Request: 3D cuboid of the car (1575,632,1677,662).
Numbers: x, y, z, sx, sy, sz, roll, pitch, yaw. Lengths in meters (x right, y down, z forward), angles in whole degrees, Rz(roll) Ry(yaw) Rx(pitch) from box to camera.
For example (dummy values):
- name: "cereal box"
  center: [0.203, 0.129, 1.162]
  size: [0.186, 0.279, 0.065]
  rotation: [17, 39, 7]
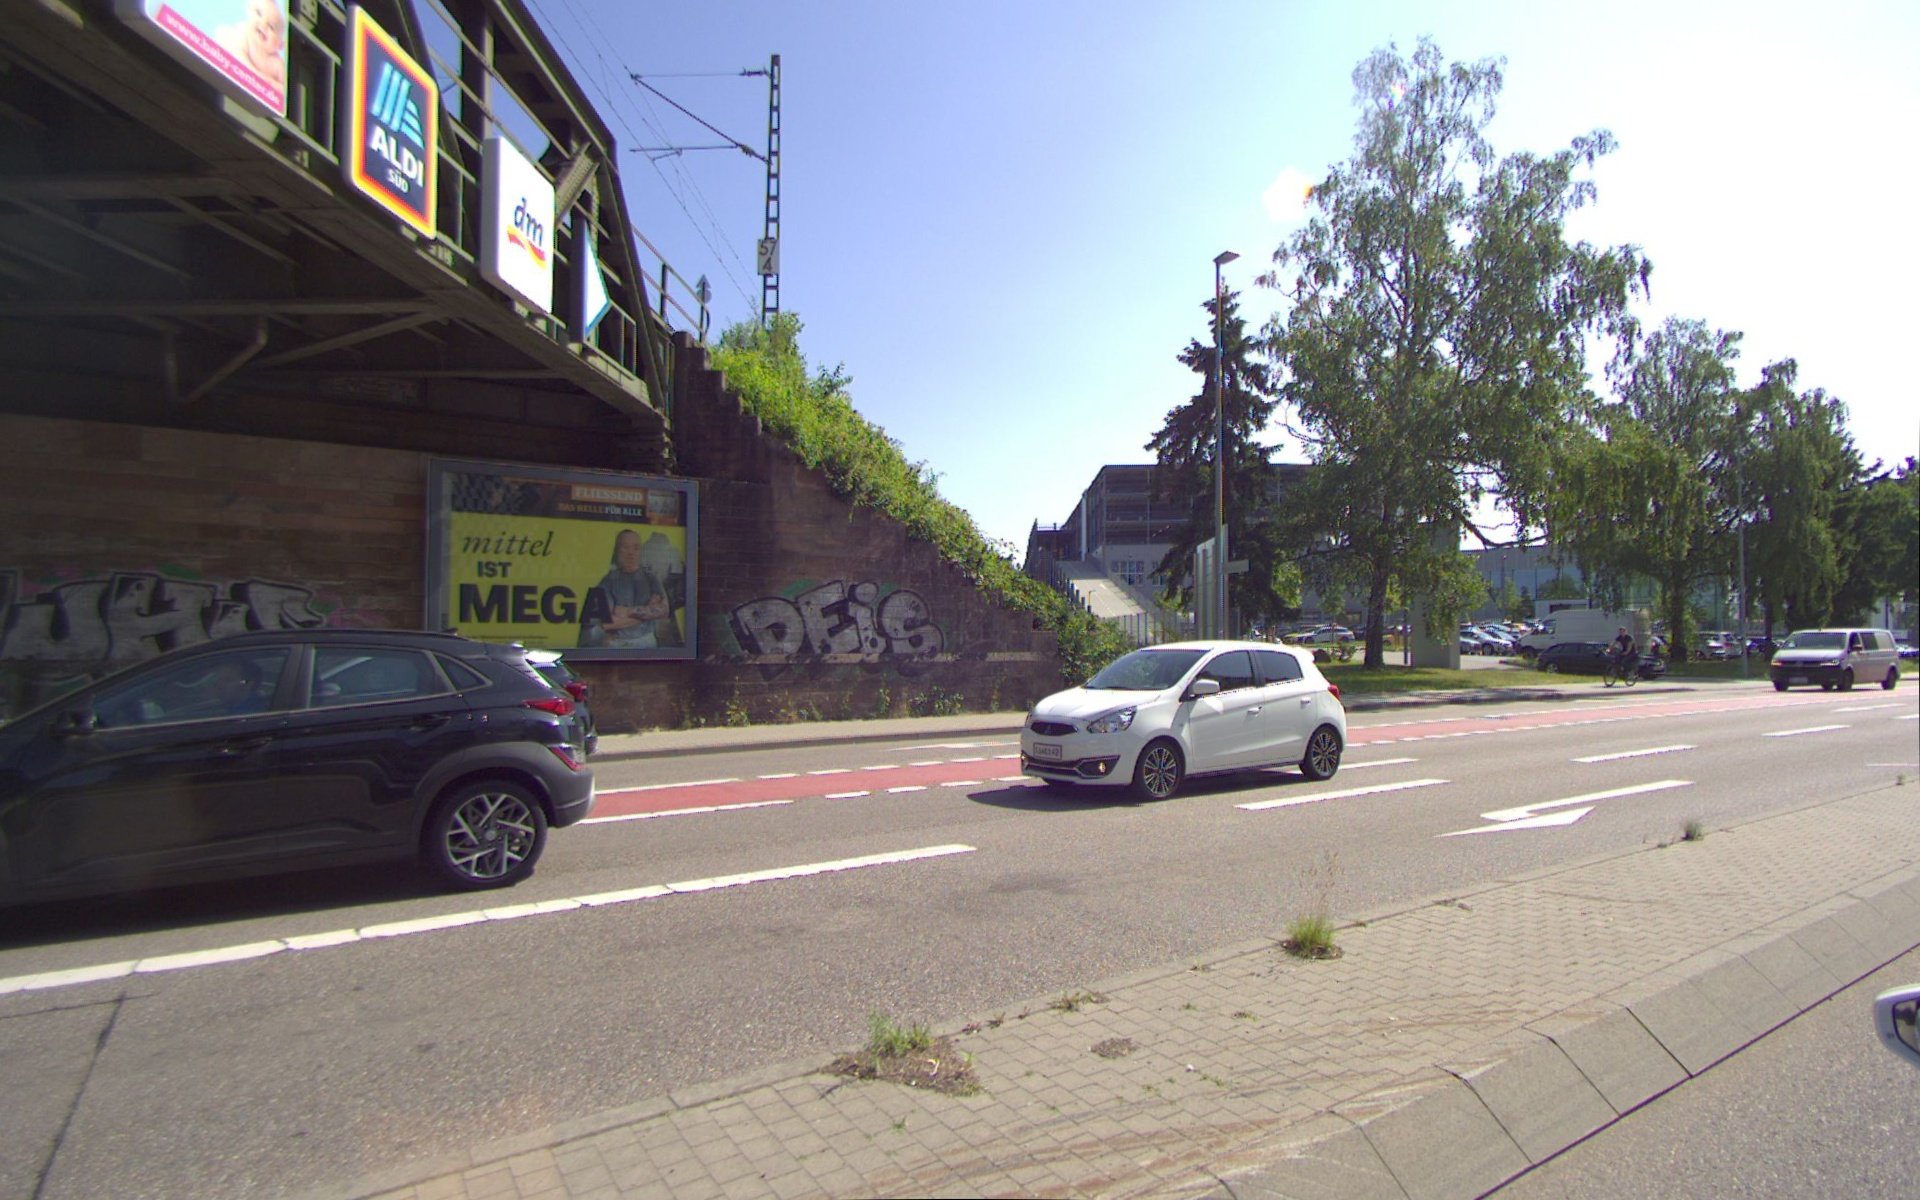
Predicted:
- name: "car"
  center: [34.010, 2.368, 51.399]
  size: [1.721, 1.457, 4.072]
  rotation: [1, -2, -27]

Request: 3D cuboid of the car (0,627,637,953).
- name: "car"
  center: [-4.293, 0.981, 6.093]
  size: [4.132, 1.514, 1.759]
  rotation: [0, -3, -33]

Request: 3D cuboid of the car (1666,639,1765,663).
- name: "car"
  center: [44.408, 2.953, 59.096]
  size: [1.931, 1.345, 4.246]
  rotation: [1, -2, -30]

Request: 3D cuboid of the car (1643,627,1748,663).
- name: "car"
  center: [40.429, 2.469, 55.321]
  size: [1.931, 1.909, 4.246]
  rotation: [1, -2, -30]

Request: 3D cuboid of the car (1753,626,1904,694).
- name: "car"
  center: [28.235, 1.902, 32.630]
  size: [5.281, 2.040, 1.985]
  rotation: [1, -3, -29]

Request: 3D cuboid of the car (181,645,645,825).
- name: "car"
  center: [-5.757, 1.315, 10.930]
  size: [4.132, 1.514, 1.759]
  rotation: [0, -3, -33]

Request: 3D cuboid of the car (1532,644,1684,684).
- name: "car"
  center: [25.227, 2.461, 39.304]
  size: [1.974, 1.432, 4.650]
  rotation: [1, -3, -27]

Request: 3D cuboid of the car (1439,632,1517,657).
- name: "car"
  center: [32.463, 2.775, 63.029]
  size: [1.724, 1.457, 4.065]
  rotation: [1, -2, -32]

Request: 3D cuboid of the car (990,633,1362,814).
- name: "car"
  center: [2.331, 1.157, 10.522]
  size: [3.789, 1.514, 1.633]
  rotation: [0, -3, -34]

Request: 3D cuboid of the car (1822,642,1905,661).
- name: "car"
  center: [67.033, 3.819, 74.595]
  size: [1.931, 1.368, 4.246]
  rotation: [1, -2, -30]

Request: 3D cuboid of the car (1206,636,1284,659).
- name: "car"
  center: [18.182, 3.020, 64.198]
  size: [4.460, 1.461, 2.001]
  rotation: [0, -2, 0]

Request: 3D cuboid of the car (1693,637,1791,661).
- name: "car"
  center: [46.961, 2.925, 60.408]
  size: [1.931, 1.399, 4.246]
  rotation: [1, -2, -30]

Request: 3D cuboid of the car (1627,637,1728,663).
- name: "car"
  center: [38.404, 2.648, 53.840]
  size: [1.723, 1.310, 4.068]
  rotation: [1, -2, -30]

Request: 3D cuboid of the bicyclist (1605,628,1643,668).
- name: "bicyclist"
  center: [21.194, 1.523, 32.042]
  size: [0.939, 1.244, 0.631]
  rotation: [1, -2, -29]

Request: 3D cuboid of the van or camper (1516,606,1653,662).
- name: "van or camper"
  center: [30.484, 1.604, 49.191]
  size: [1.980, 2.504, 5.343]
  rotation: [0, 1, -35]

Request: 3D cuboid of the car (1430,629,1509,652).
- name: "car"
  center: [30.766, 2.446, 60.746]
  size: [1.721, 1.372, 4.073]
  rotation: [1, -3, -27]

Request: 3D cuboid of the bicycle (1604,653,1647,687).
- name: "bicycle"
  center: [21.251, 2.216, 32.061]
  size: [1.596, 1.041, 0.444]
  rotation: [1, -2, -29]
